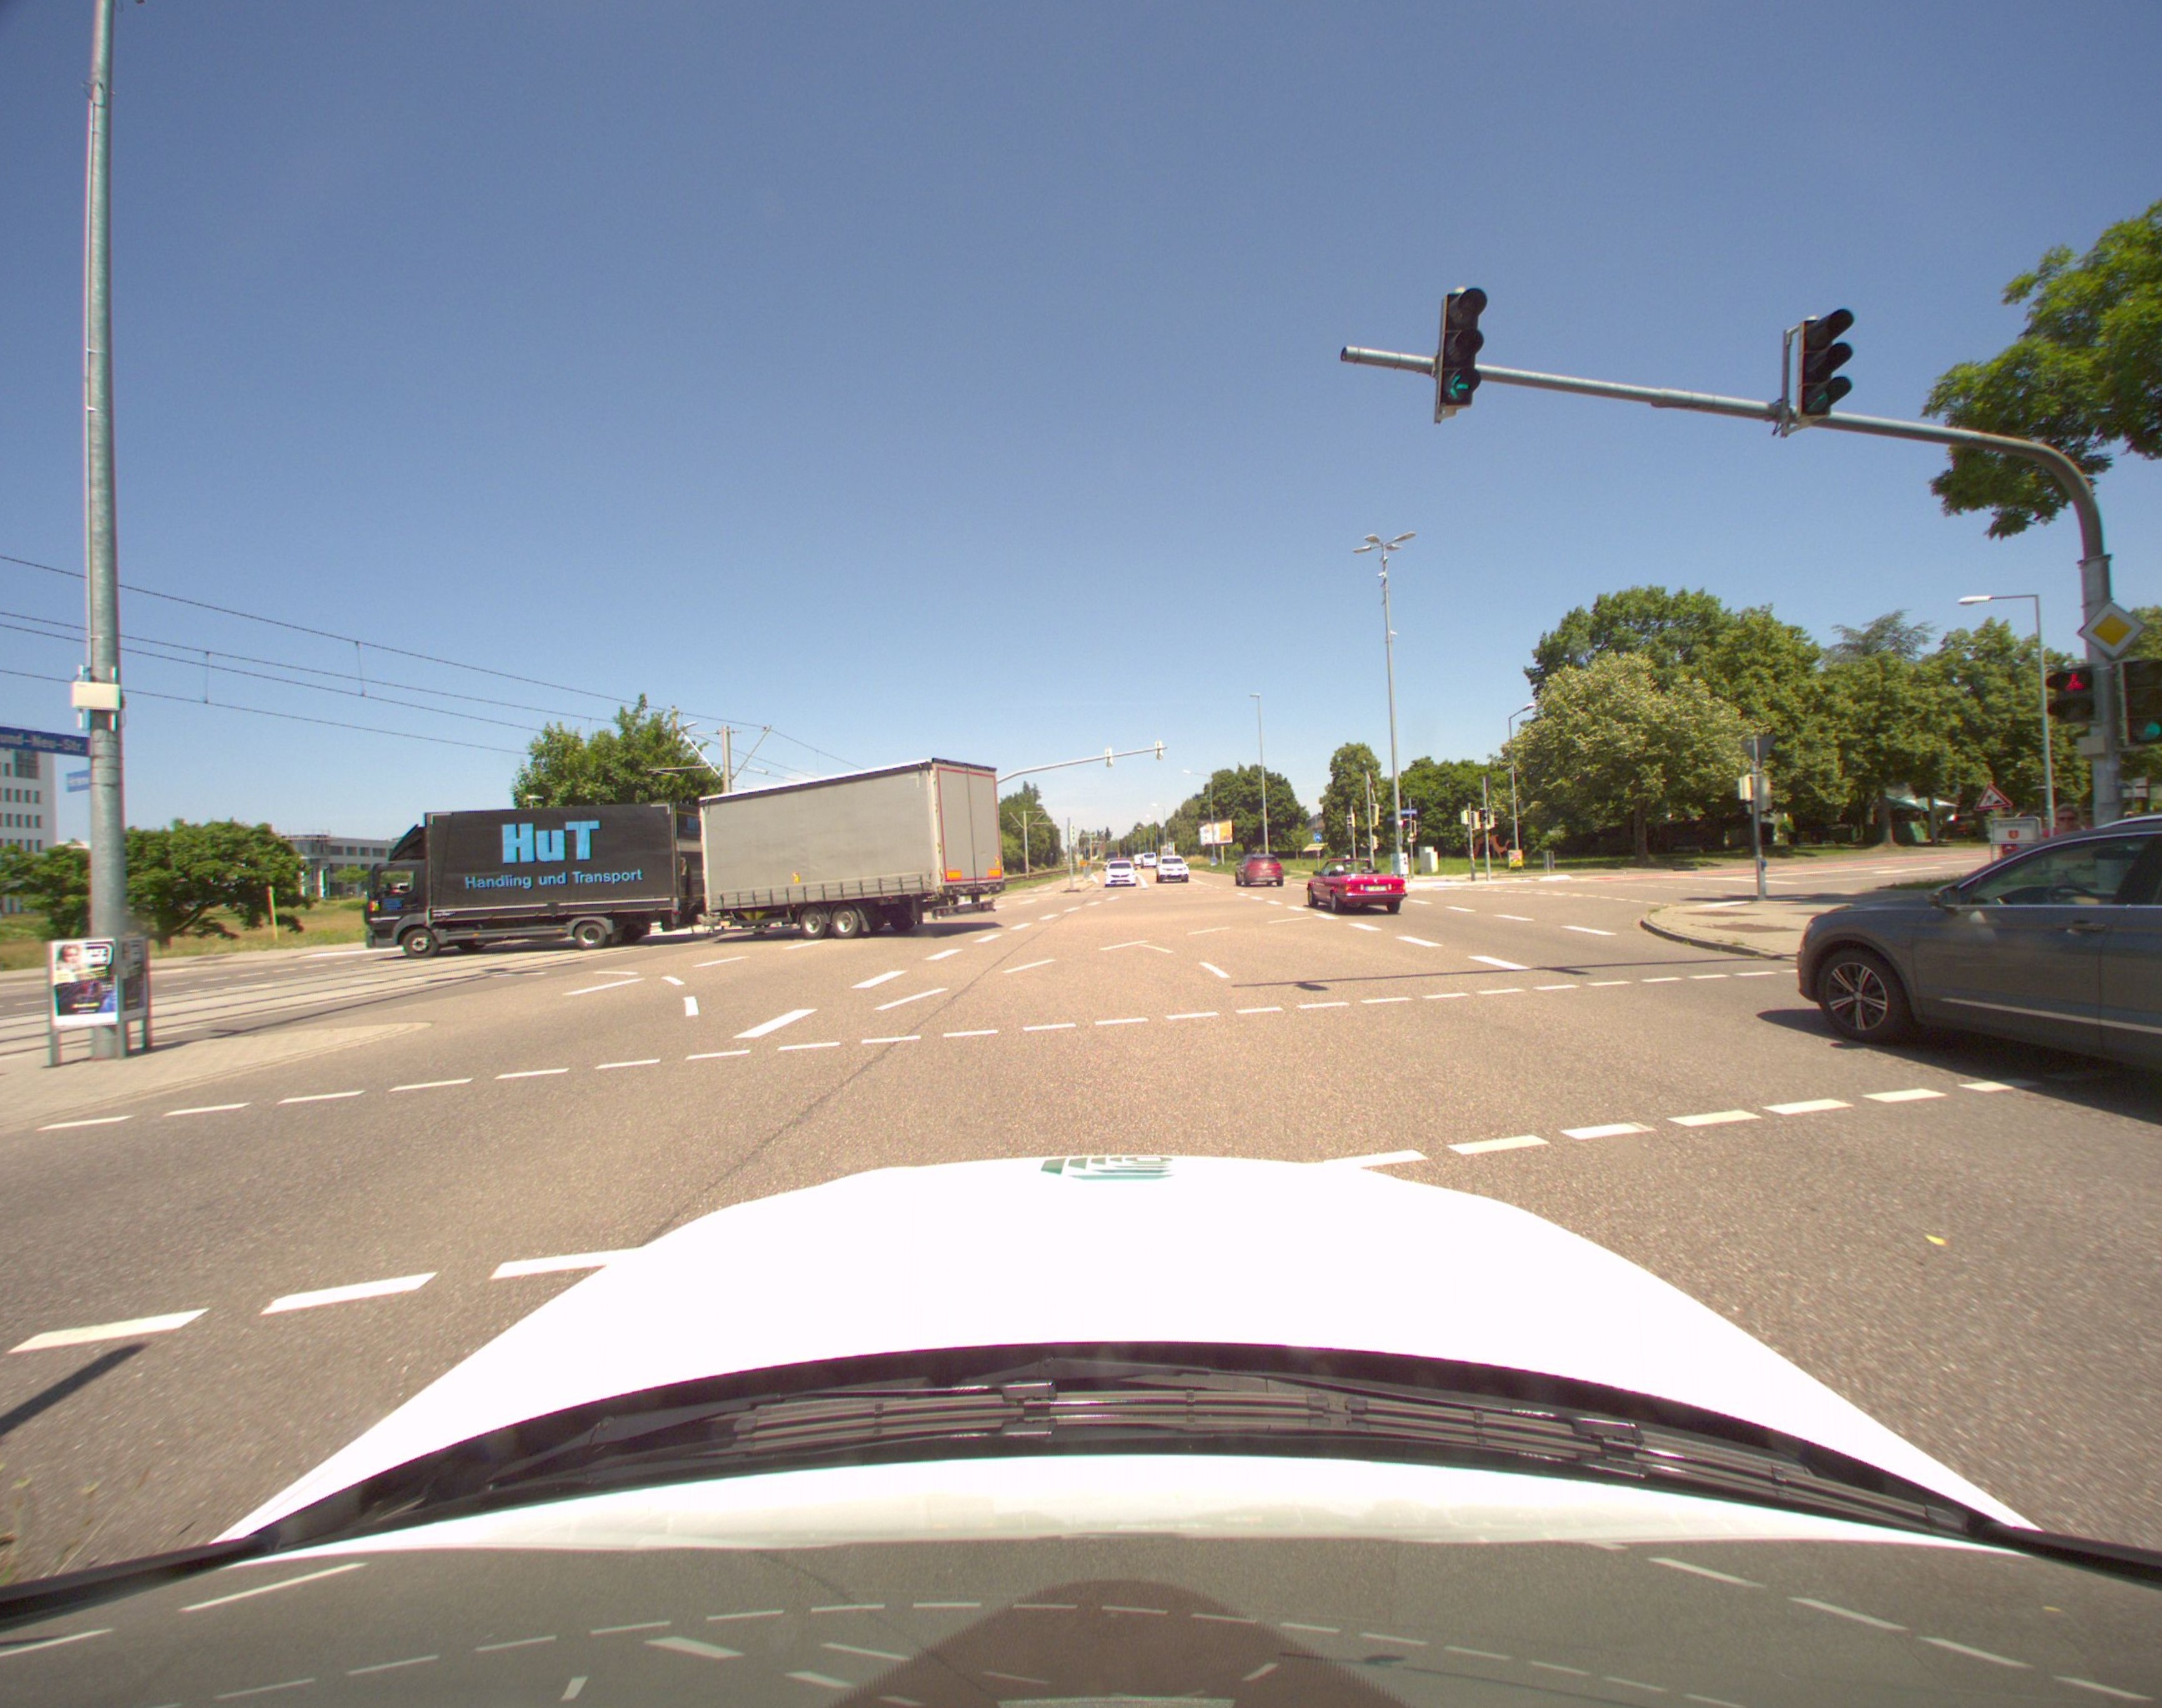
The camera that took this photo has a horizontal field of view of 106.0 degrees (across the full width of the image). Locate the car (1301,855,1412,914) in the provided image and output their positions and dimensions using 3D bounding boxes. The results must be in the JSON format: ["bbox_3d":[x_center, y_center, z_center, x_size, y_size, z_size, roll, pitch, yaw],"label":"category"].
[{"bbox_3d":[7.100,0.730,21.434,1.752,1.348,4.317,-1,0,4],"label":"car"}]

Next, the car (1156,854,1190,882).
[{"bbox_3d":[5.611,0.842,50.198,1.861,1.576,4.417,-2,0,4],"label":"car"}]

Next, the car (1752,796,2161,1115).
[{"bbox_3d":[6.483,0.508,4.690,1.719,1.658,4.411,-2,0,3],"label":"car"}]

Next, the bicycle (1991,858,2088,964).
[{"bbox_3d":[11.120,0.625,9.488,1.816,1.063,0.609,-2,-2,-42],"label":"bicycle"}]

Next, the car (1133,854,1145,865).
[{"bbox_3d":[9.315,0.903,130.664,1.761,1.755,4.001,0,-1,2],"label":"car"}]

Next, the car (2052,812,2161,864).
[{"bbox_3d":[30.200,-0.446,22.877,1.586,1.428,3.466,0,0,-22],"label":"car"}]

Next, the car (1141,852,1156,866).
[{"bbox_3d":[8.925,0.642,107.223,1.761,1.755,4.001,0,-1,2],"label":"car"}]

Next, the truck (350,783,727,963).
[{"bbox_3d":[-14.453,0.490,22.329,7.918,4.070,3.082,-4,-2,-4],"label":"truck"}]

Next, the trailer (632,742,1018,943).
[{"bbox_3d":[-6.648,-0.018,20.526,9.685,4.070,3.106,-4,-2,27],"label":"trailer"}]

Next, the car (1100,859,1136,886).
[{"bbox_3d":[2.144,1.023,46.258,1.861,1.389,4.417,-2,0,4],"label":"car"}]

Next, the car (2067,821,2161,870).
[{"bbox_3d":[32.958,-0.272,24.738,1.584,1.429,3.469,0,-2,-19],"label":"car"}]

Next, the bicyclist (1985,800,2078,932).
[{"bbox_3d":[11.120,0.134,9.547,0.633,1.468,0.609,-5,0,-42],"label":"bicyclist"}]

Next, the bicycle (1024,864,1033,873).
[{"bbox_3d":[-8.976,2.415,138.765,1.056,1.345,2.698,-6,0,3],"label":"bicycle"}]

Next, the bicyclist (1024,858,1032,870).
[{"bbox_3d":[-9.034,1.677,138.767,1.067,2.013,1.186,-5,-1,3],"label":"bicyclist"}]

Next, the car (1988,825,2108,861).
[{"bbox_3d":[35.385,-0.396,29.813,3.489,1.227,1.575,0,-2,-17],"label":"car"}]

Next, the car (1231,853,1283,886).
[{"bbox_3d":[8.540,0.729,39.850,1.835,1.459,4.417,-3,0,4],"label":"car"}]
